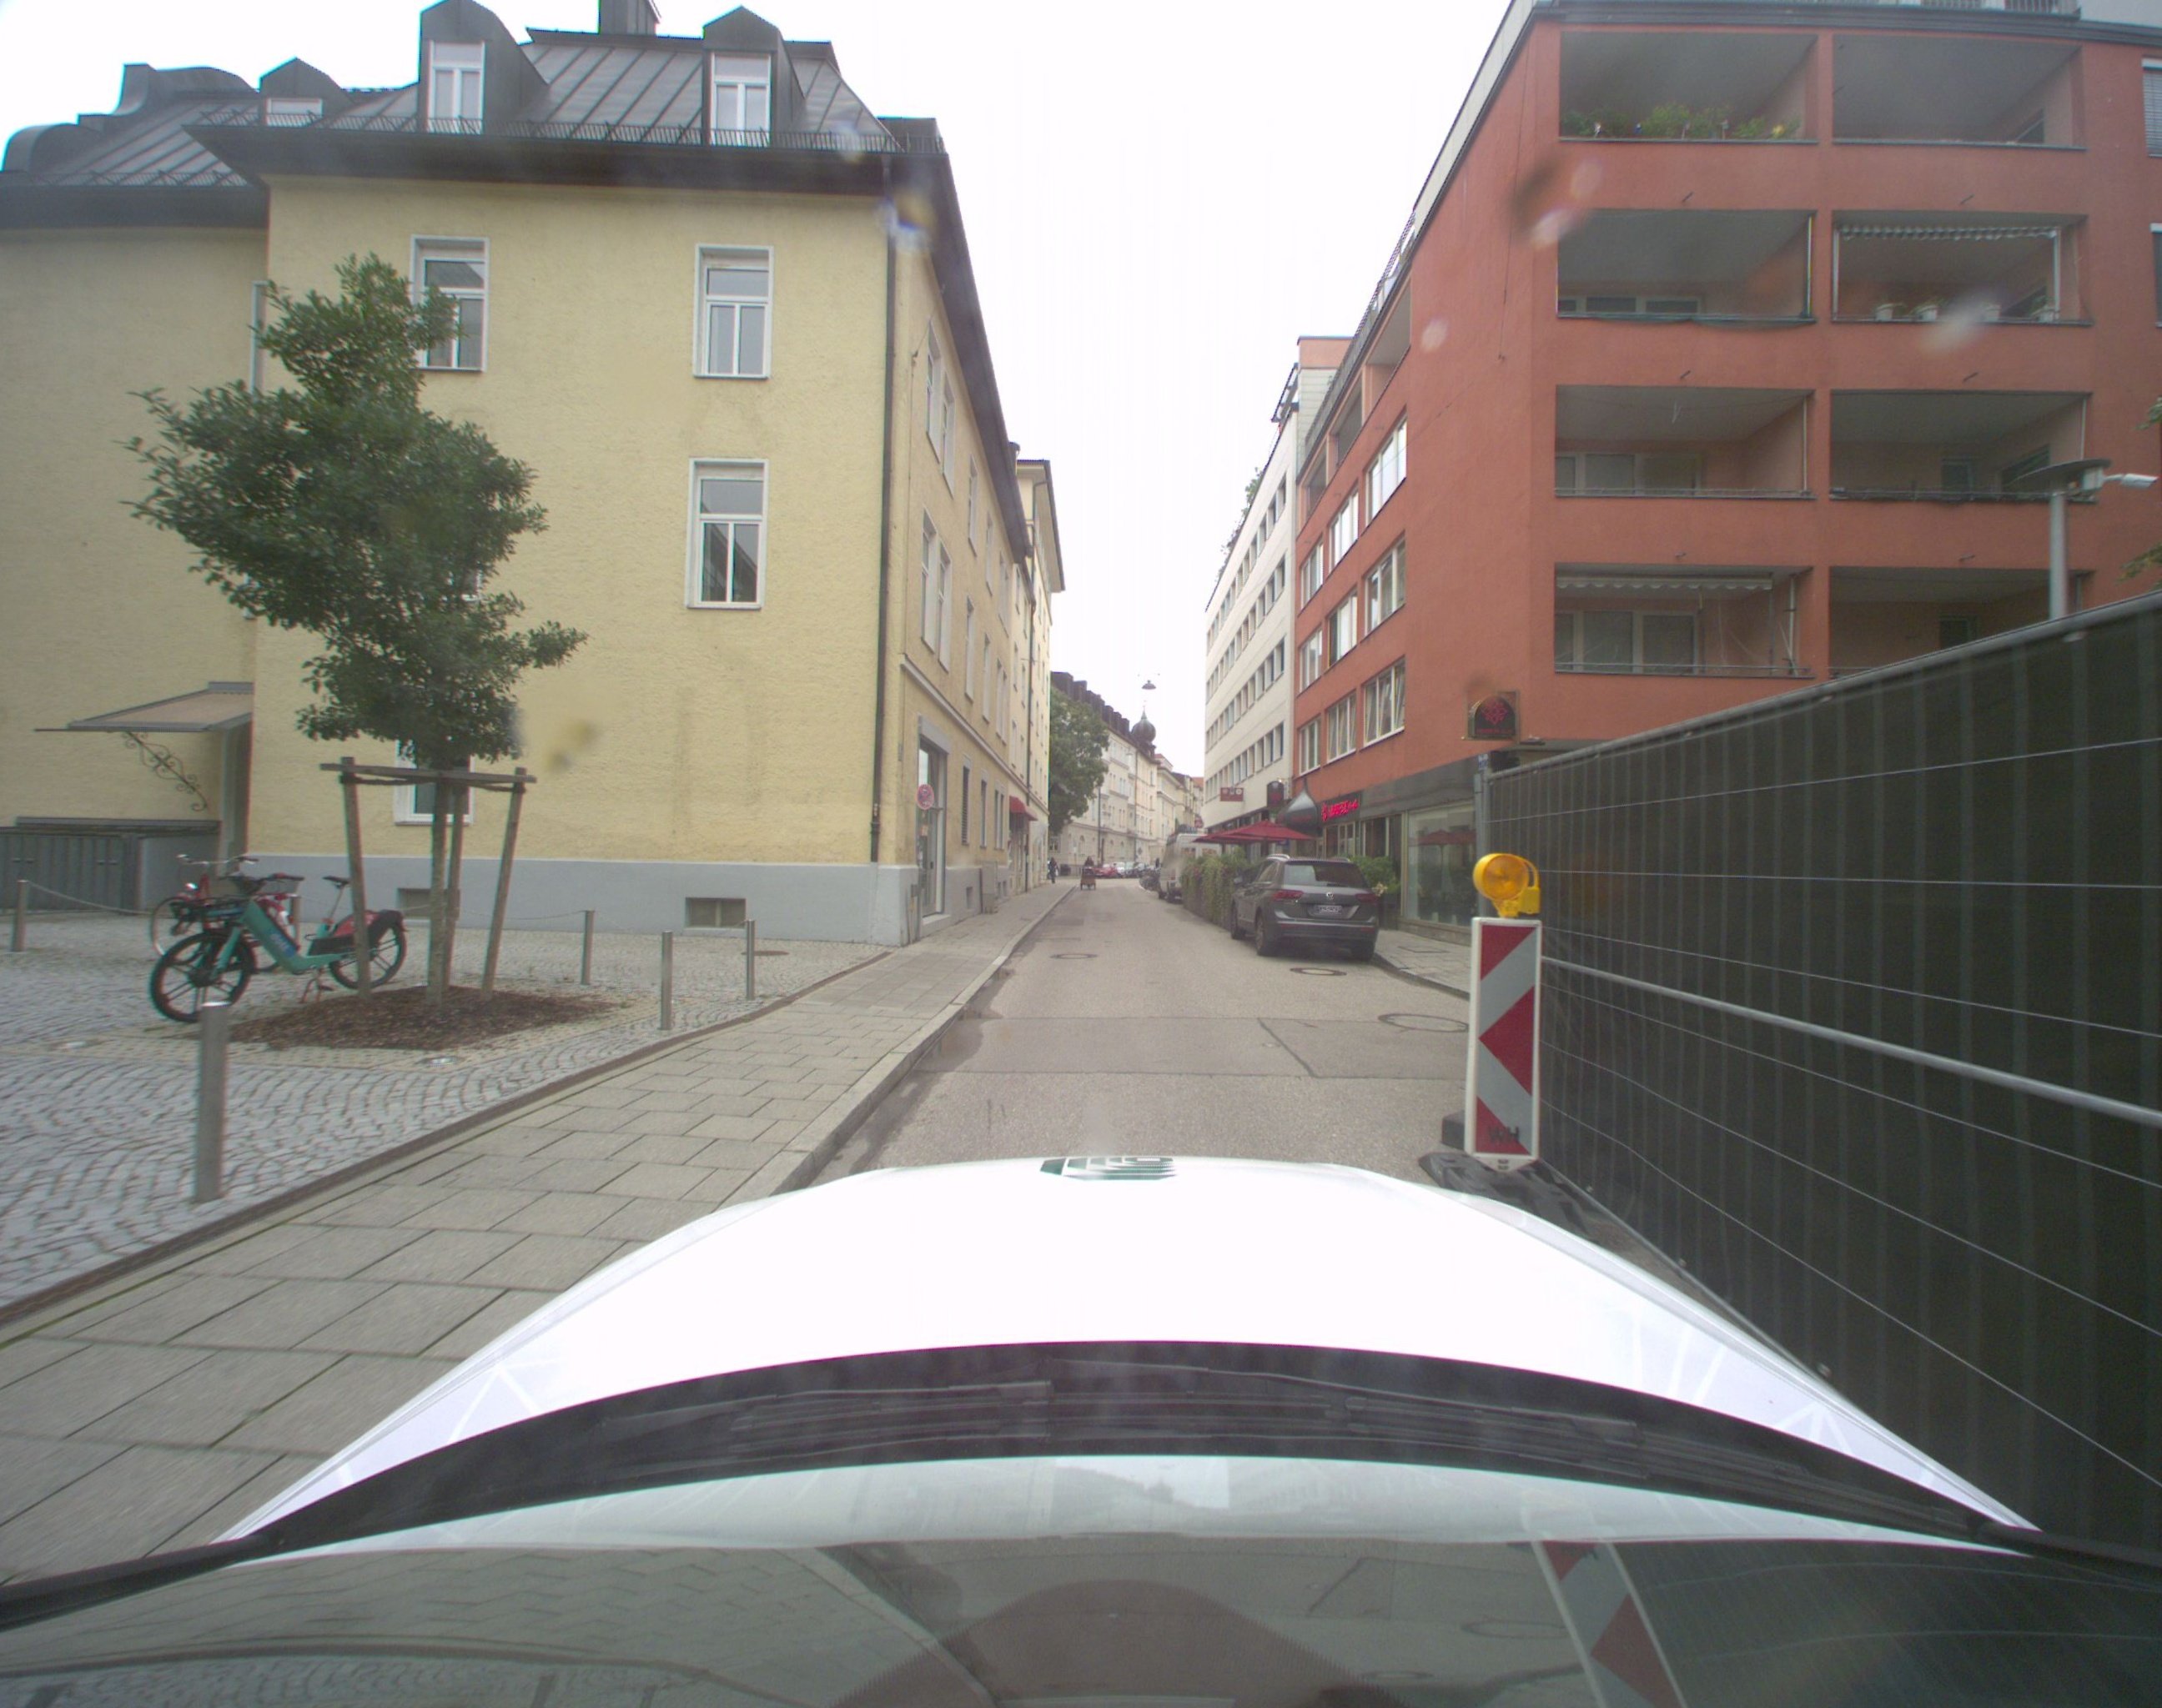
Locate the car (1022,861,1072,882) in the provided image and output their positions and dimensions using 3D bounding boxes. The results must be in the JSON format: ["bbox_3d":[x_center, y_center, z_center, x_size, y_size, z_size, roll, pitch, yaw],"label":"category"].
[{"bbox_3d":[-2.676,1.349,63.225,3.753,1.578,1.996,0,-1,-6],"label":"car"}]

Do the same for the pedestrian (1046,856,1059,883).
[{"bbox_3d":[-1.751,0.950,50.375,0.692,1.632,0.661,2,-1,-9],"label":"pedestrian"}]

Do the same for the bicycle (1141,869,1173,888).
[{"bbox_3d":[4.499,1.453,48.160,1.869,1.080,0.408,1,0,-3],"label":"bicycle"}]

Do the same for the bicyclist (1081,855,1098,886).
[{"bbox_3d":[0.465,0.901,44.904,0.923,1.721,1.100,0,-1,2],"label":"bicyclist"}]

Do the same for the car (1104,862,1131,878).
[{"bbox_3d":[3.428,1.505,76.506,1.981,1.473,4.229,1,-1,10],"label":"car"}]

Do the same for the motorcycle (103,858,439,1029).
[{"bbox_3d":[-6.483,0.647,6.722,0.573,1.173,1.984,2,-1,7],"label":"motorcycle"}]

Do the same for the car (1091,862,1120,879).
[{"bbox_3d":[2.166,1.432,71.690,1.718,1.378,4.241,1,-1,13],"label":"car"}]

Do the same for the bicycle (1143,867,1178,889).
[{"bbox_3d":[4.481,1.337,45.750,1.888,1.170,0.565,1,-1,-2],"label":"bicycle"}]

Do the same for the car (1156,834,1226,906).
[{"bbox_3d":[4.172,0.592,31.944,1.914,2.506,5.997,2,-1,1],"label":"car"}]

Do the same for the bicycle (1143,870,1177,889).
[{"bbox_3d":[4.546,1.485,47.021,1.869,1.052,0.564,1,-2,-3],"label":"bicycle"}]

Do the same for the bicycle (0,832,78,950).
[{"bbox_3d":[-12.898,0.346,8.914,2.842,1.251,0.767,2,-1,1],"label":"bicycle"}]

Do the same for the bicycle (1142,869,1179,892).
[{"bbox_3d":[4.199,1.412,43.217,1.868,1.108,0.488,3,0,-1],"label":"bicycle"}]

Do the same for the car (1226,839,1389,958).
[{"bbox_3d":[3.786,0.692,14.424,1.817,1.710,4.391,2,-1,3],"label":"car"}]

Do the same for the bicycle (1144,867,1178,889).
[{"bbox_3d":[4.432,1.325,45.151,1.868,1.204,0.579,0,-1,-1],"label":"bicycle"}]

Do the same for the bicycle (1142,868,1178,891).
[{"bbox_3d":[4.240,1.365,43.738,1.868,1.204,0.488,1,0,-1],"label":"bicycle"}]

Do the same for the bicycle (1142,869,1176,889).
[{"bbox_3d":[4.432,1.404,46.321,1.869,1.095,0.439,1,0,-3],"label":"bicycle"}]

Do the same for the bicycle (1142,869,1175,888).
[{"bbox_3d":[4.525,1.438,47.720,1.869,1.080,0.402,1,0,-3],"label":"bicycle"}]

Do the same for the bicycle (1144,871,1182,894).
[{"bbox_3d":[4.266,1.493,42.408,1.868,1.080,0.488,3,0,-1],"label":"bicycle"}]

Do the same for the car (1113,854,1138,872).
[{"bbox_3d":[4.473,0.910,81.612,1.930,1.702,4.012,2,-1,11],"label":"car"}]

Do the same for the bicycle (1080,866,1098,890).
[{"bbox_3d":[0.452,1.310,44.517,0.928,1.257,2.415,0,-1,2],"label":"bicycle"}]

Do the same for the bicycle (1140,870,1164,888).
[{"bbox_3d":[4.415,1.532,50.635,1.449,1.069,0.462,2,-1,-7],"label":"bicycle"}]

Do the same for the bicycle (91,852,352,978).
[{"bbox_3d":[-8.870,0.607,8.451,1.965,1.173,0.749,2,-1,5],"label":"bicycle"}]
